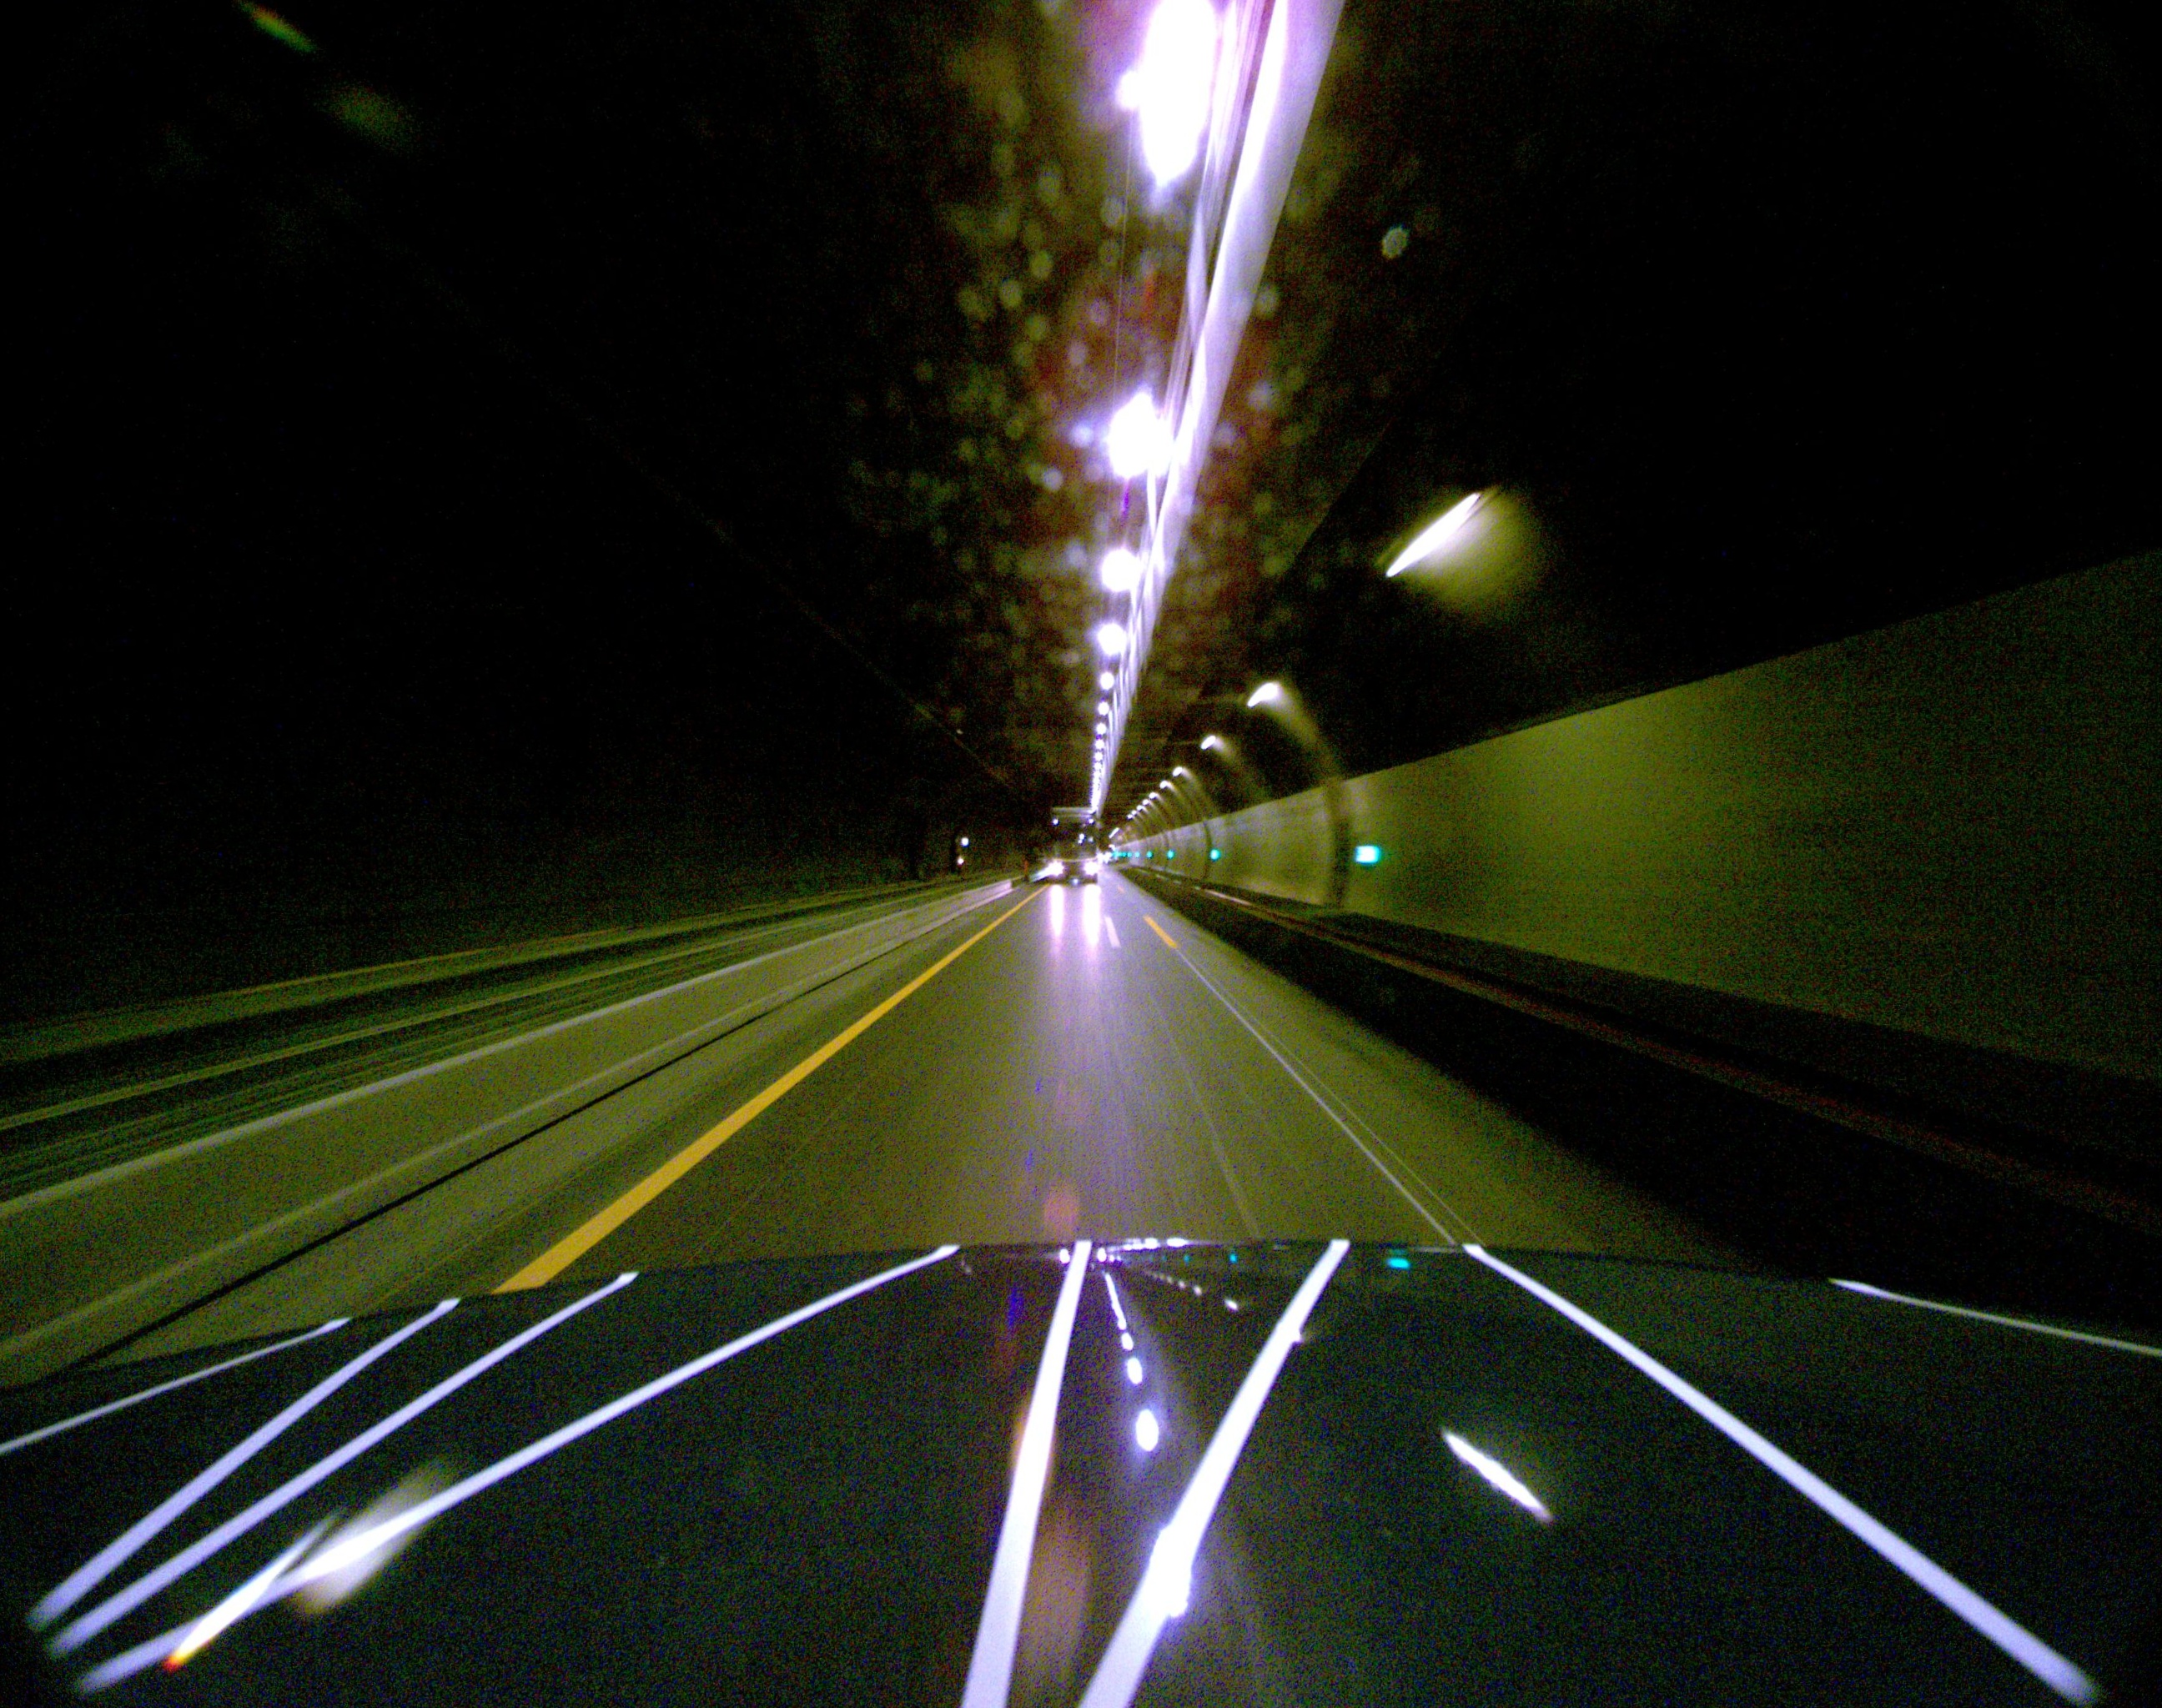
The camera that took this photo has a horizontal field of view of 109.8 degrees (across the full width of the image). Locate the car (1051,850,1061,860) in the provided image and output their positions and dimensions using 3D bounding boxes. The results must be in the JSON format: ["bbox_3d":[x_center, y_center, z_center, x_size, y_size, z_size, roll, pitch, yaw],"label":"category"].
[{"bbox_3d":[-5.024,0.208,153.130,1.832,1.848,5.441,-1,0,0],"label":"car"}]

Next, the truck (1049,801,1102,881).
[{"bbox_3d":[-0.196,-0.707,43.776,2.769,4.198,7.977,0,1,1],"label":"truck"}]

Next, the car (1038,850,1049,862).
[{"bbox_3d":[-6.039,0.300,123.100,1.756,1.834,4.644,0,0,-3],"label":"car"}]
